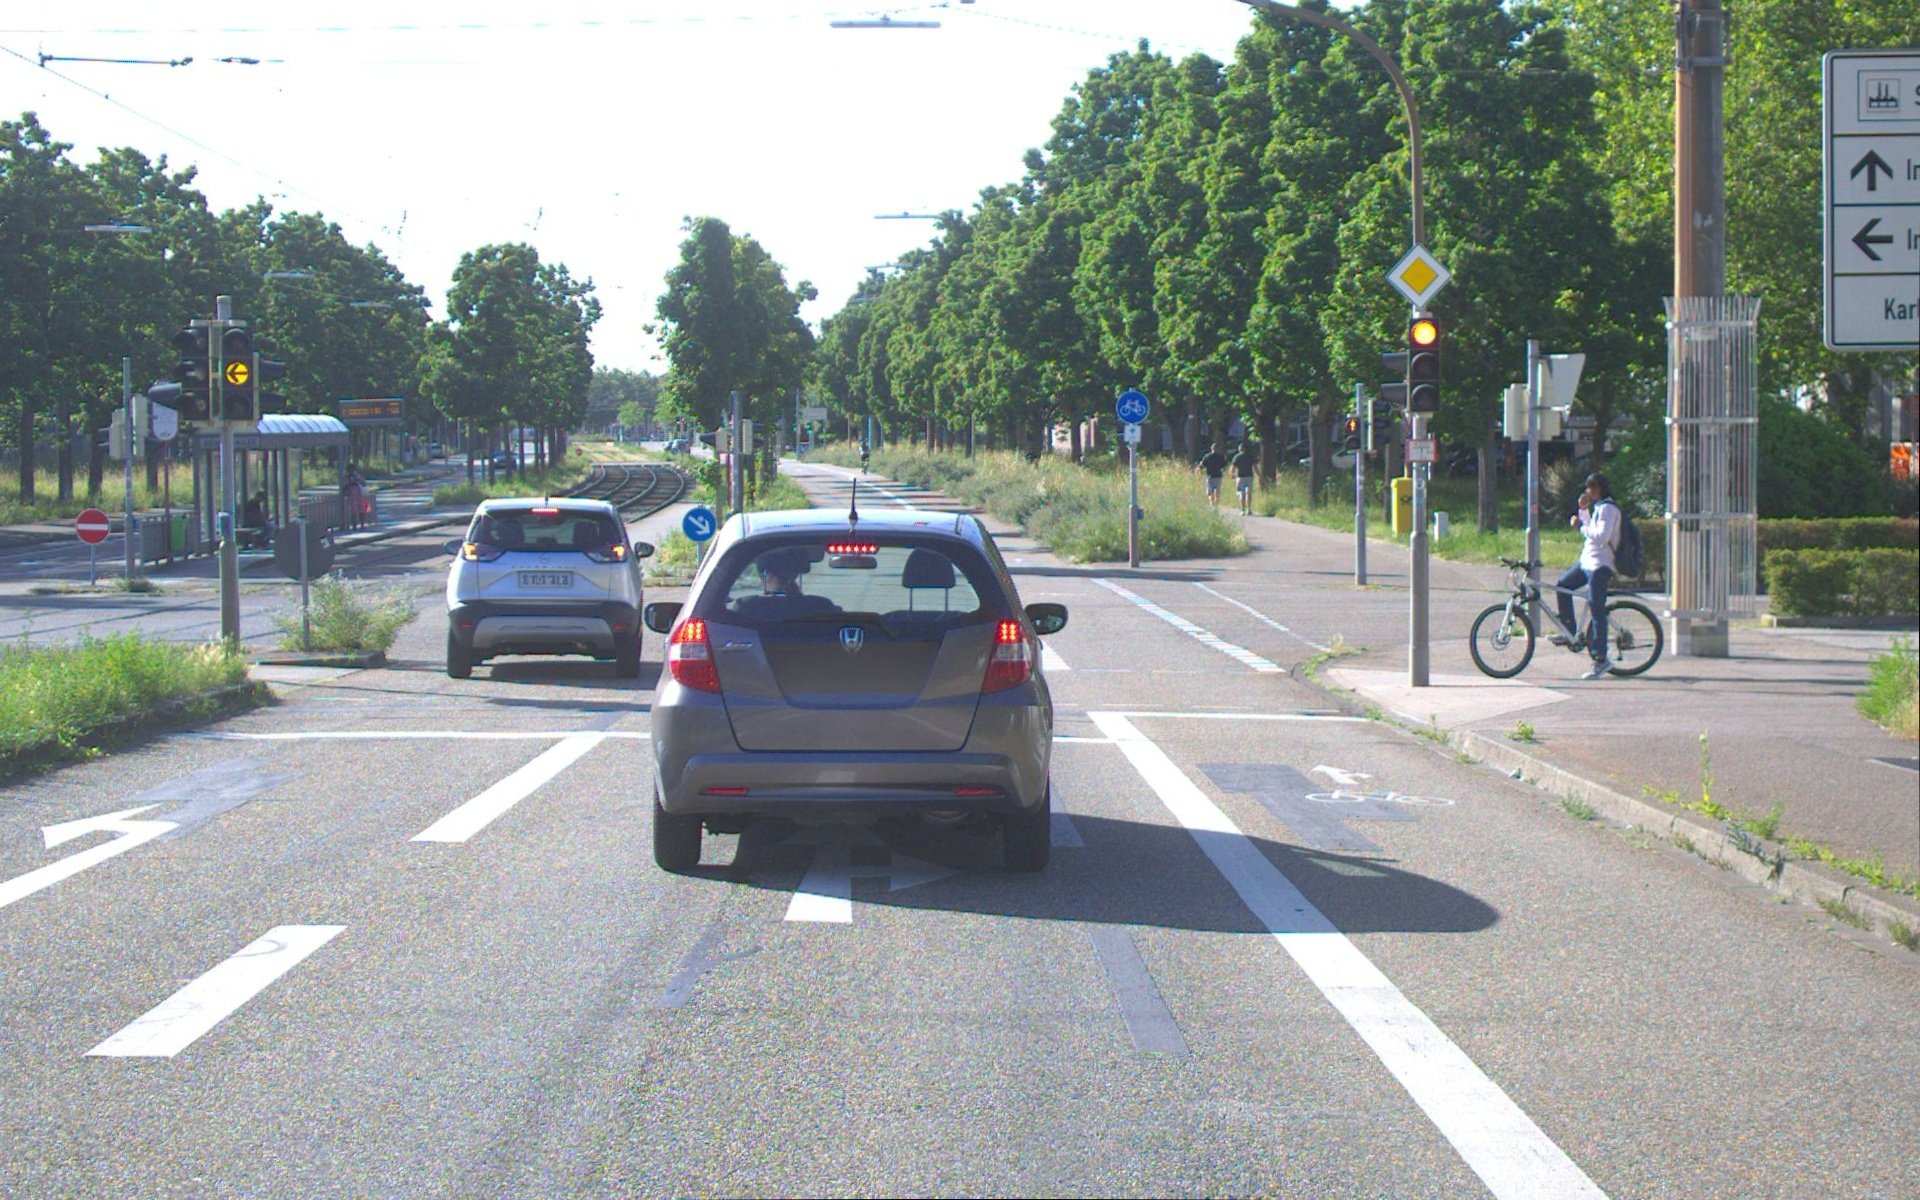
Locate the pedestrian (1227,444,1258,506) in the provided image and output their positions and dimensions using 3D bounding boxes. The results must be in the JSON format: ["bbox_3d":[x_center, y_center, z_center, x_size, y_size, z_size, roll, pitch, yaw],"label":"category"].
[{"bbox_3d":[7.394,-3.278,90.075,0.678,1.604,0.721,1,1,-3],"label":"pedestrian"}]

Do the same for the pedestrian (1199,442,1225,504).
[{"bbox_3d":[6.599,-3.327,90.040,0.567,1.591,0.666,1,1,-4],"label":"pedestrian"}]

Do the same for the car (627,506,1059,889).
[{"bbox_3d":[-0.458,0.335,15.709,1.707,1.503,4.000,1,2,0],"label":"car"}]

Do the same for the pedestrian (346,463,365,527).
[{"bbox_3d":[-15.979,-2.777,90.878,0.502,1.670,0.388,0,2,-12],"label":"pedestrian"}]

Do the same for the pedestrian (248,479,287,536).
[{"bbox_3d":[-15.382,-2.055,76.334,0.721,1.241,0.711,-1,2,-2],"label":"pedestrian"}]

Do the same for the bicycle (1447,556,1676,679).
[{"bbox_3d":[5.263,0.151,30.077,1.921,0.994,0.764,-2,1,11],"label":"bicycle"}]

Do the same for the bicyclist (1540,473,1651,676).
[{"bbox_3d":[5.547,-0.225,30.013,0.910,1.739,0.764,-1,1,11],"label":"bicyclist"}]

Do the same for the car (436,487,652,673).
[{"bbox_3d":[-3.857,-0.233,31.787,1.850,1.601,4.256,0,2,-7],"label":"car"}]

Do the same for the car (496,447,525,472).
[{"bbox_3d":[-32.471,-10.156,248.281,1.766,1.732,4.001,0,1,-3],"label":"car"}]
